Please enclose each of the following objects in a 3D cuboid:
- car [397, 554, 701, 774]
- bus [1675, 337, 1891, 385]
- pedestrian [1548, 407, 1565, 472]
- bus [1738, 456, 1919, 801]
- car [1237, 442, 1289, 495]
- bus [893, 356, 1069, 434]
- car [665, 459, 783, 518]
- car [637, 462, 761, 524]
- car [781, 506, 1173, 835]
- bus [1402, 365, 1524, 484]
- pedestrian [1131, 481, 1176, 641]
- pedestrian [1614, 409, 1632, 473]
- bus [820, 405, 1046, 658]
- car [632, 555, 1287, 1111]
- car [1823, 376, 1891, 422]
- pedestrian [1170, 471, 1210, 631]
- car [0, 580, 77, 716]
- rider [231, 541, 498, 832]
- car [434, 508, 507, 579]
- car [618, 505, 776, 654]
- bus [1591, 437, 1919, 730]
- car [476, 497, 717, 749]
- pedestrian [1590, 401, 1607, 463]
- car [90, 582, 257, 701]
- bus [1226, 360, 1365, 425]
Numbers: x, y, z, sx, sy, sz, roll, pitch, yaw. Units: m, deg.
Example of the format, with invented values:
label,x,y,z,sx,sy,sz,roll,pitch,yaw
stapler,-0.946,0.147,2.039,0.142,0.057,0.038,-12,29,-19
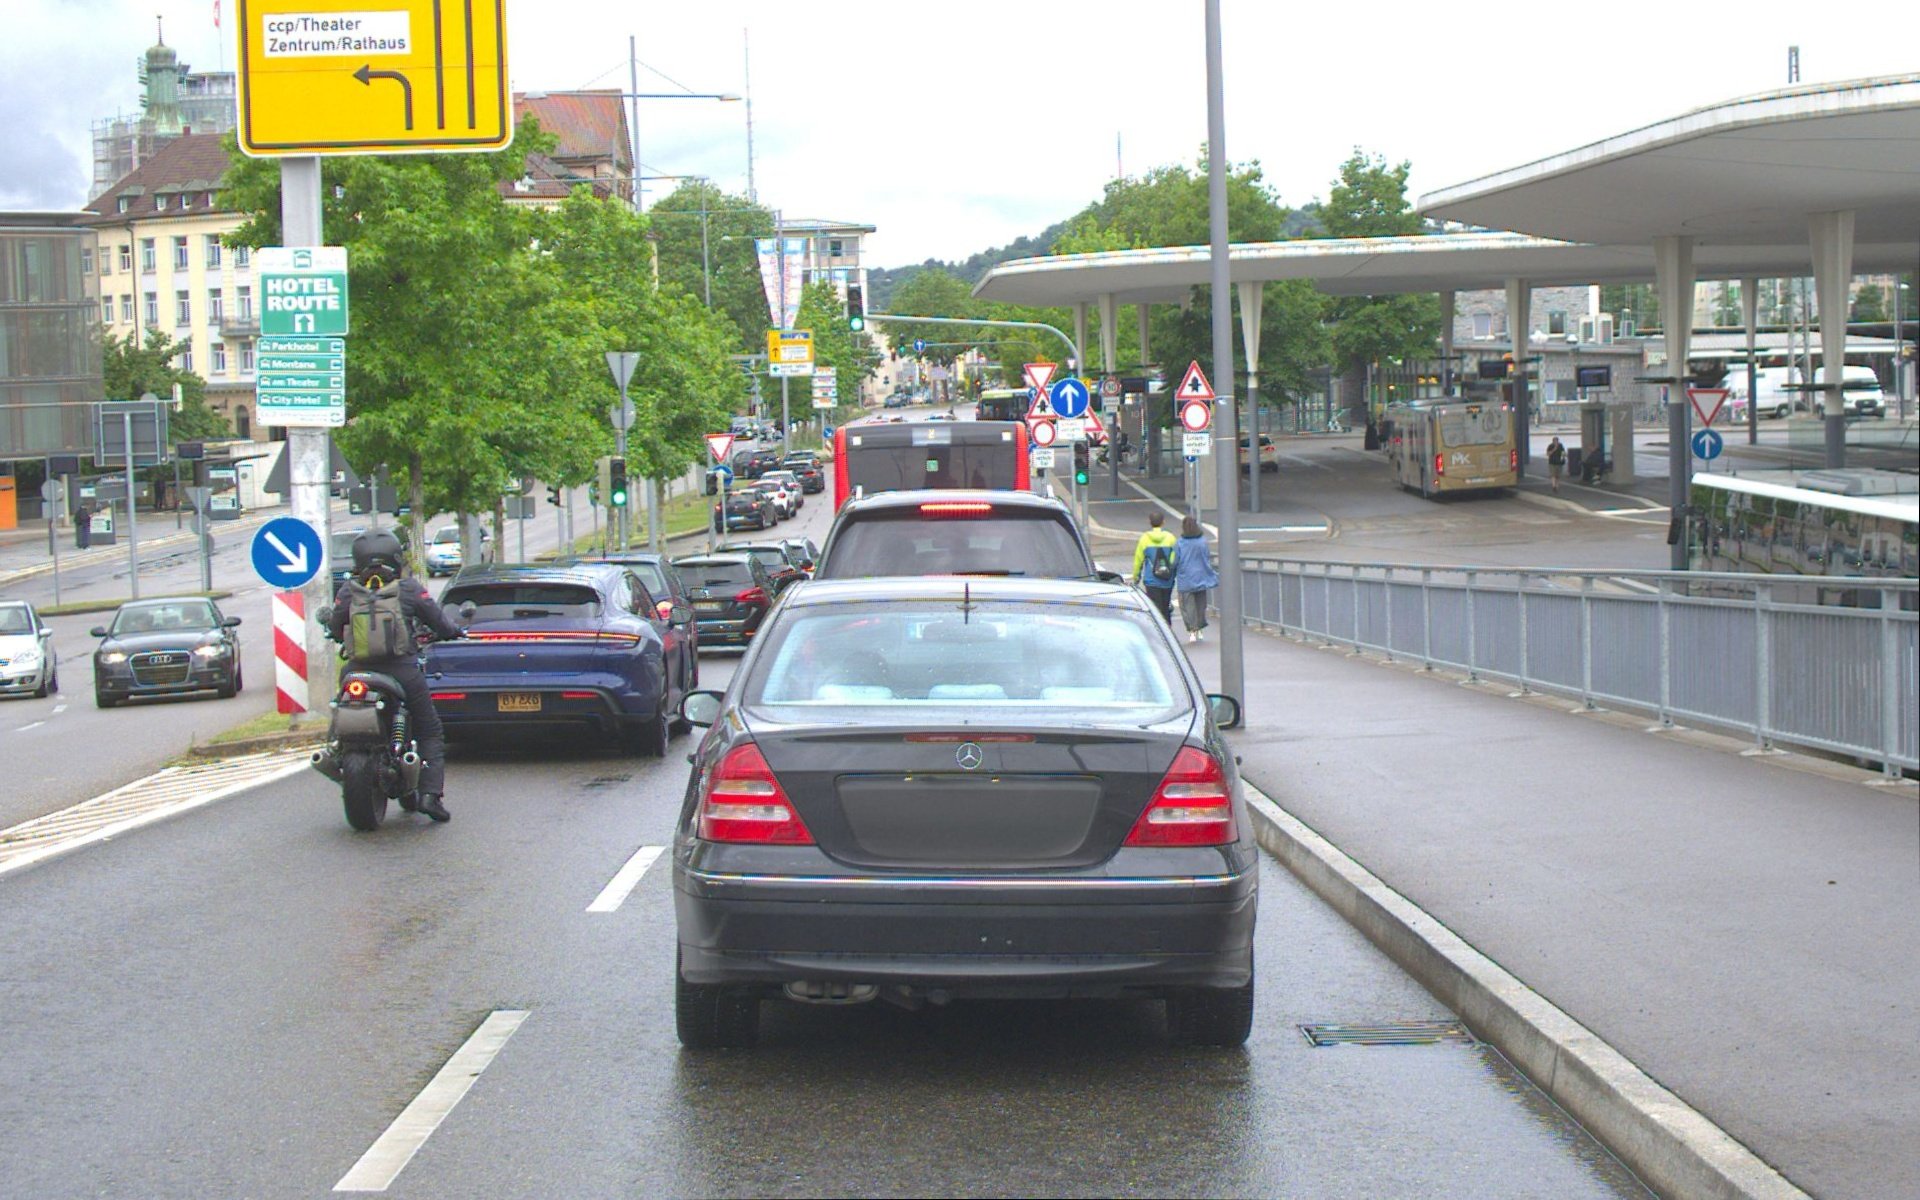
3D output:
label,x,y,z,sx,sy,sz,roll,pitch,yaw
car,-2.946,0.407,25.381,1.760,1.431,4.000,0,2,0
bus,40.633,-11.803,169.864,10.167,2.006,2.170,-2,2,-3
pedestrian,18.614,-5.001,107.263,0.424,2.006,0.483,-2,2,2
bus,11.101,0.187,38.672,2.646,3.225,7.074,-2,5,-4
car,12.161,-5.268,137.764,1.994,2.006,4.000,-2,2,5
bus,1.033,-11.059,184.841,3.257,3.993,10.891,-6,7,-38
car,-8.589,-4.060,125.359,3.987,2.006,2.000,-2,2,4
car,-9.005,-3.692,118.791,3.987,2.006,2.000,-2,2,4
car,0.207,0.307,19.724,1.827,1.681,3.999,0,2,6
bus,16.314,-5.645,112.238,3.179,3.588,10.509,-1,2,5
pedestrian,2.463,-0.495,43.793,0.489,2.007,0.469,-2,-1,2
pedestrian,21.034,-5.039,109.033,0.424,2.007,0.483,-2,-1,2
bus,-0.391,-0.987,48.333,2.827,3.178,10.310,0,1,-1
car,0.031,0.590,10.939,1.706,1.415,3.726,1,1,1
car,41.124,-9.211,157.736,1.993,2.006,4.001,-2,3,-1
pedestrian,2.917,-0.611,43.602,0.424,2.007,0.483,-2,-1,2
car,-15.366,0.750,54.729,1.993,2.007,4.001,-2,1,-8
rider,-3.215,0.423,18.795,0.881,1.467,2.195,1,2,6
car,-14.571,-1.672,102.495,1.993,2.007,4.203,-2,0,-7
car,-3.663,-0.329,48.490,1.993,1.999,4.001,0,2,-1
bus,10.606,-0.363,45.764,2.646,3.225,7.074,-2,5,-4
car,-3.668,0.304,35.437,1.993,2.000,3.998,0,-9,1
pedestrian,20.897,-5.493,112.599,0.424,2.006,0.483,-2,2,2
car,-11.013,0.546,48.384,1.832,1.521,4.595,-2,0,-8
bus,18.618,-11.528,191.086,7.197,3.384,3.083,-2,3,-4
